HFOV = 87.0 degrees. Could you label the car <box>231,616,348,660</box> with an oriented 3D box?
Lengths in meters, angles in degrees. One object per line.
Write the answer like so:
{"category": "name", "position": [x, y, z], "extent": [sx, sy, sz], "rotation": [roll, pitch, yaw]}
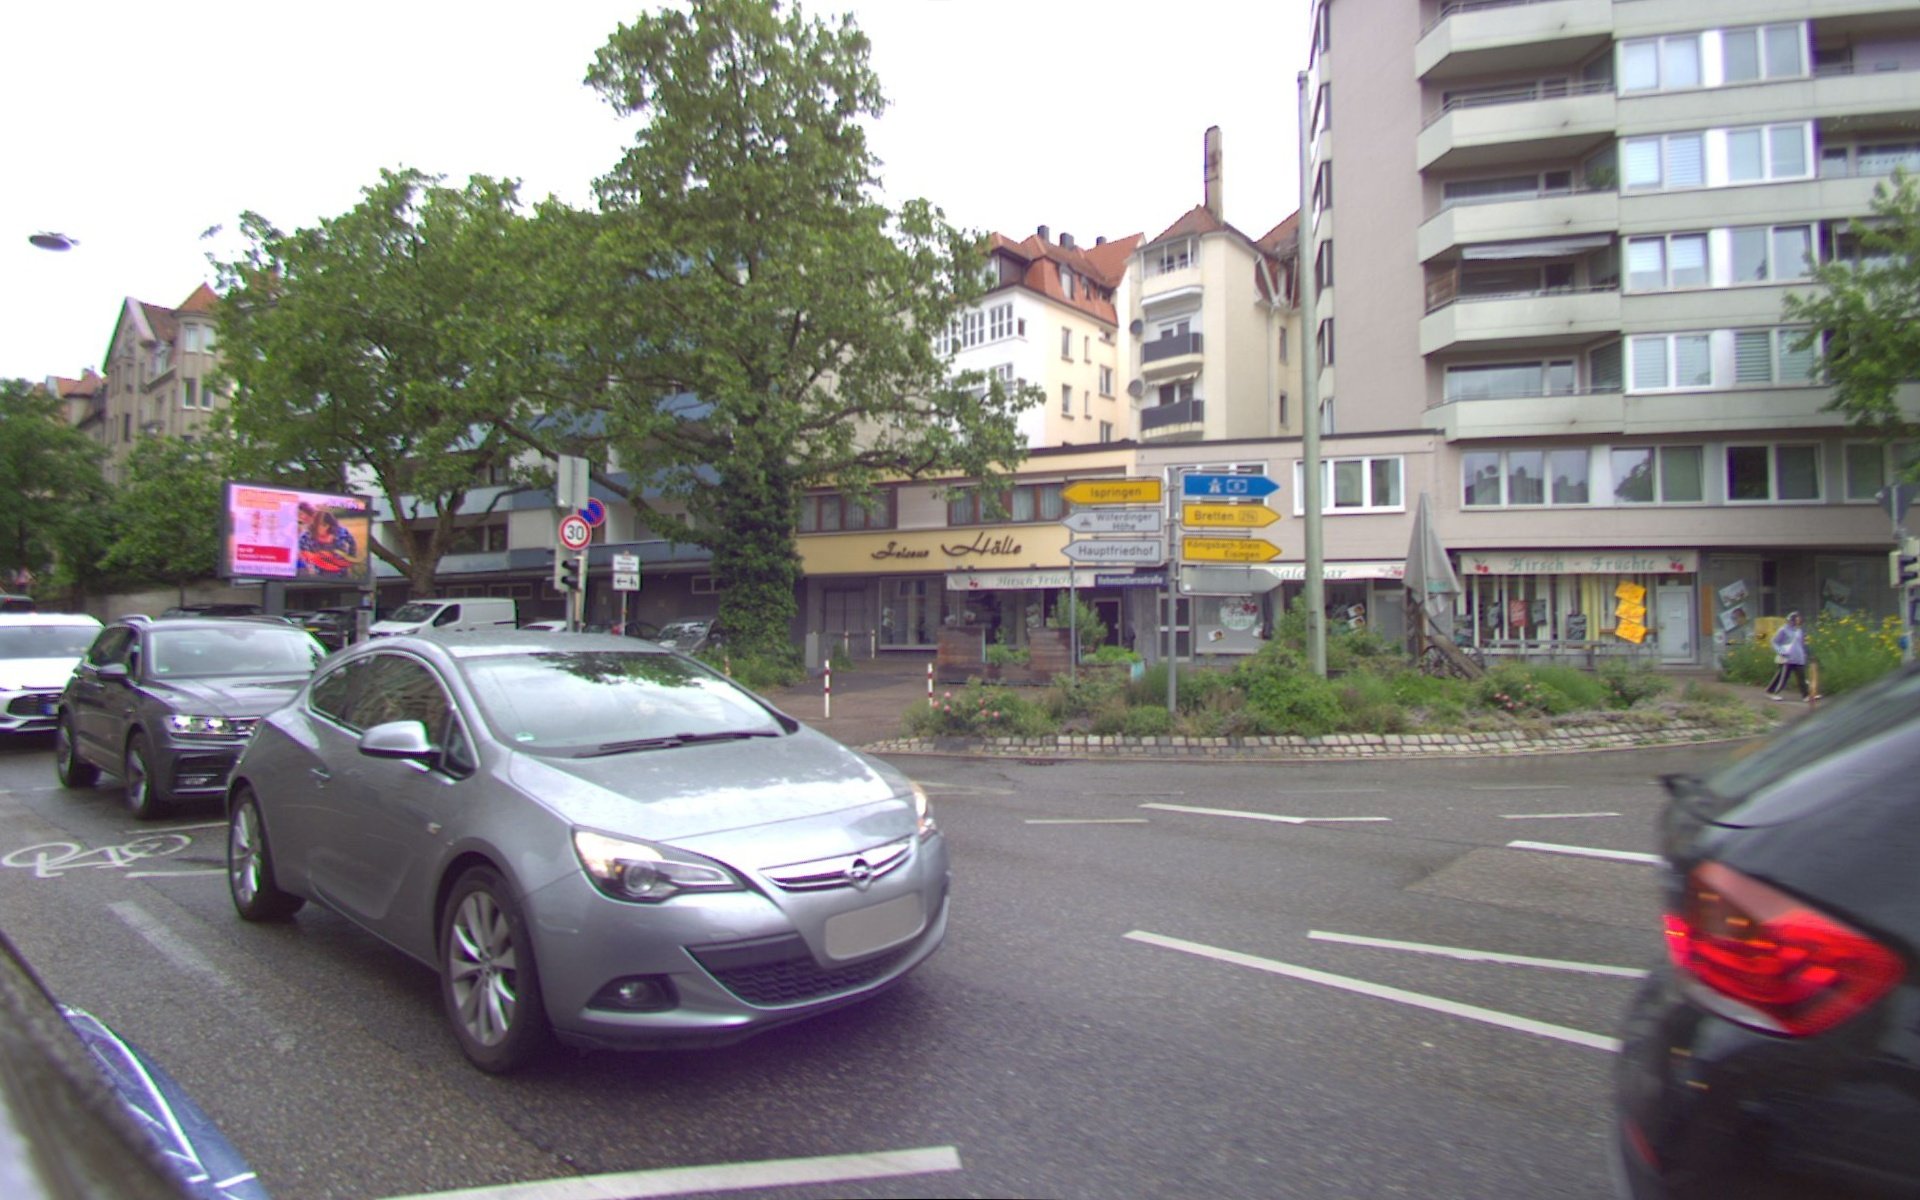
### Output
{"category": "car", "position": [-25.698, 1.404, 38.942], "extent": [1.661, 1.416, 3.827], "rotation": [1, 2, 8]}

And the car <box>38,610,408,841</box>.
{"category": "car", "position": [-6.908, 0.986, 9.323], "extent": [4.207, 1.657, 1.735], "rotation": [-3, -2, 39]}

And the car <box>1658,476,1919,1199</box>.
{"category": "car", "position": [3.162, 0.627, 0.772], "extent": [4.211, 1.546, 1.734], "rotation": [0, 0, 40]}

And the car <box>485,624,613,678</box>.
{"category": "car", "position": [-12.335, 1.483, 30.636], "extent": [1.794, 1.426, 3.689], "rotation": [0, 0, 13]}

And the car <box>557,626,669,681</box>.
{"category": "car", "position": [-10.161, 1.523, 29.892], "extent": [1.612, 1.426, 3.612], "rotation": [0, 0, 9]}

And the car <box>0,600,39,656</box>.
{"category": "car", "position": [-34.820, 0.942, 36.360], "extent": [4.237, 1.896, 1.795], "rotation": [0, -5, 39]}

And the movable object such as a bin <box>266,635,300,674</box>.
{"category": "movable object such as a bin", "position": [-19.701, 1.585, 29.451], "extent": [0.626, 1.088, 0.636], "rotation": [0, -1, 36]}

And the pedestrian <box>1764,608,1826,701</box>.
{"category": "pedestrian", "position": [15.796, 1.013, 19.153], "extent": [0.610, 1.706, 0.626], "rotation": [-1, -1, -8]}

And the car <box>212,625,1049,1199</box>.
{"category": "car", "position": [-1.791, 0.865, 4.619], "extent": [4.178, 1.494, 1.734], "rotation": [-1, -2, 41]}

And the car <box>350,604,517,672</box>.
{"category": "car", "position": [-16.967, 1.152, 32.940], "extent": [1.865, 1.992, 4.946], "rotation": [0, 0, 19]}

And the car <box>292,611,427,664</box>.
{"category": "car", "position": [-21.145, 1.283, 35.799], "extent": [1.793, 1.702, 3.811], "rotation": [1, -1, 20]}

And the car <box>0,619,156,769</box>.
{"category": "car", "position": [-12.444, 1.115, 13.479], "extent": [4.373, 1.657, 1.735], "rotation": [0, 0, 38]}

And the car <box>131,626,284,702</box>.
{"category": "car", "position": [-16.426, 1.372, 22.049], "extent": [3.677, 1.508, 1.697], "rotation": [-1, -5, 38]}

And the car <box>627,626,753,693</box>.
{"category": "car", "position": [-7.548, 1.612, 28.708], "extent": [1.919, 1.655, 4.204], "rotation": [0, 0, 9]}

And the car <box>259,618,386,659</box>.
{"category": "car", "position": [-23.668, 1.396, 37.717], "extent": [1.677, 1.416, 3.814], "rotation": [0, -1, 18]}

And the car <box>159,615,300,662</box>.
{"category": "car", "position": [-28.125, 1.446, 39.133], "extent": [1.794, 1.605, 4.291], "rotation": [1, 0, 15]}

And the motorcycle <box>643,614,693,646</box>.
{"category": "motorcycle", "position": [-11.352, 1.150, 39.362], "extent": [1.952, 1.176, 0.697], "rotation": [1, -1, 29]}

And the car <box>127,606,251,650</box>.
{"category": "car", "position": [-31.157, 1.078, 41.017], "extent": [1.752, 1.543, 3.824], "rotation": [1, 2, 11]}
